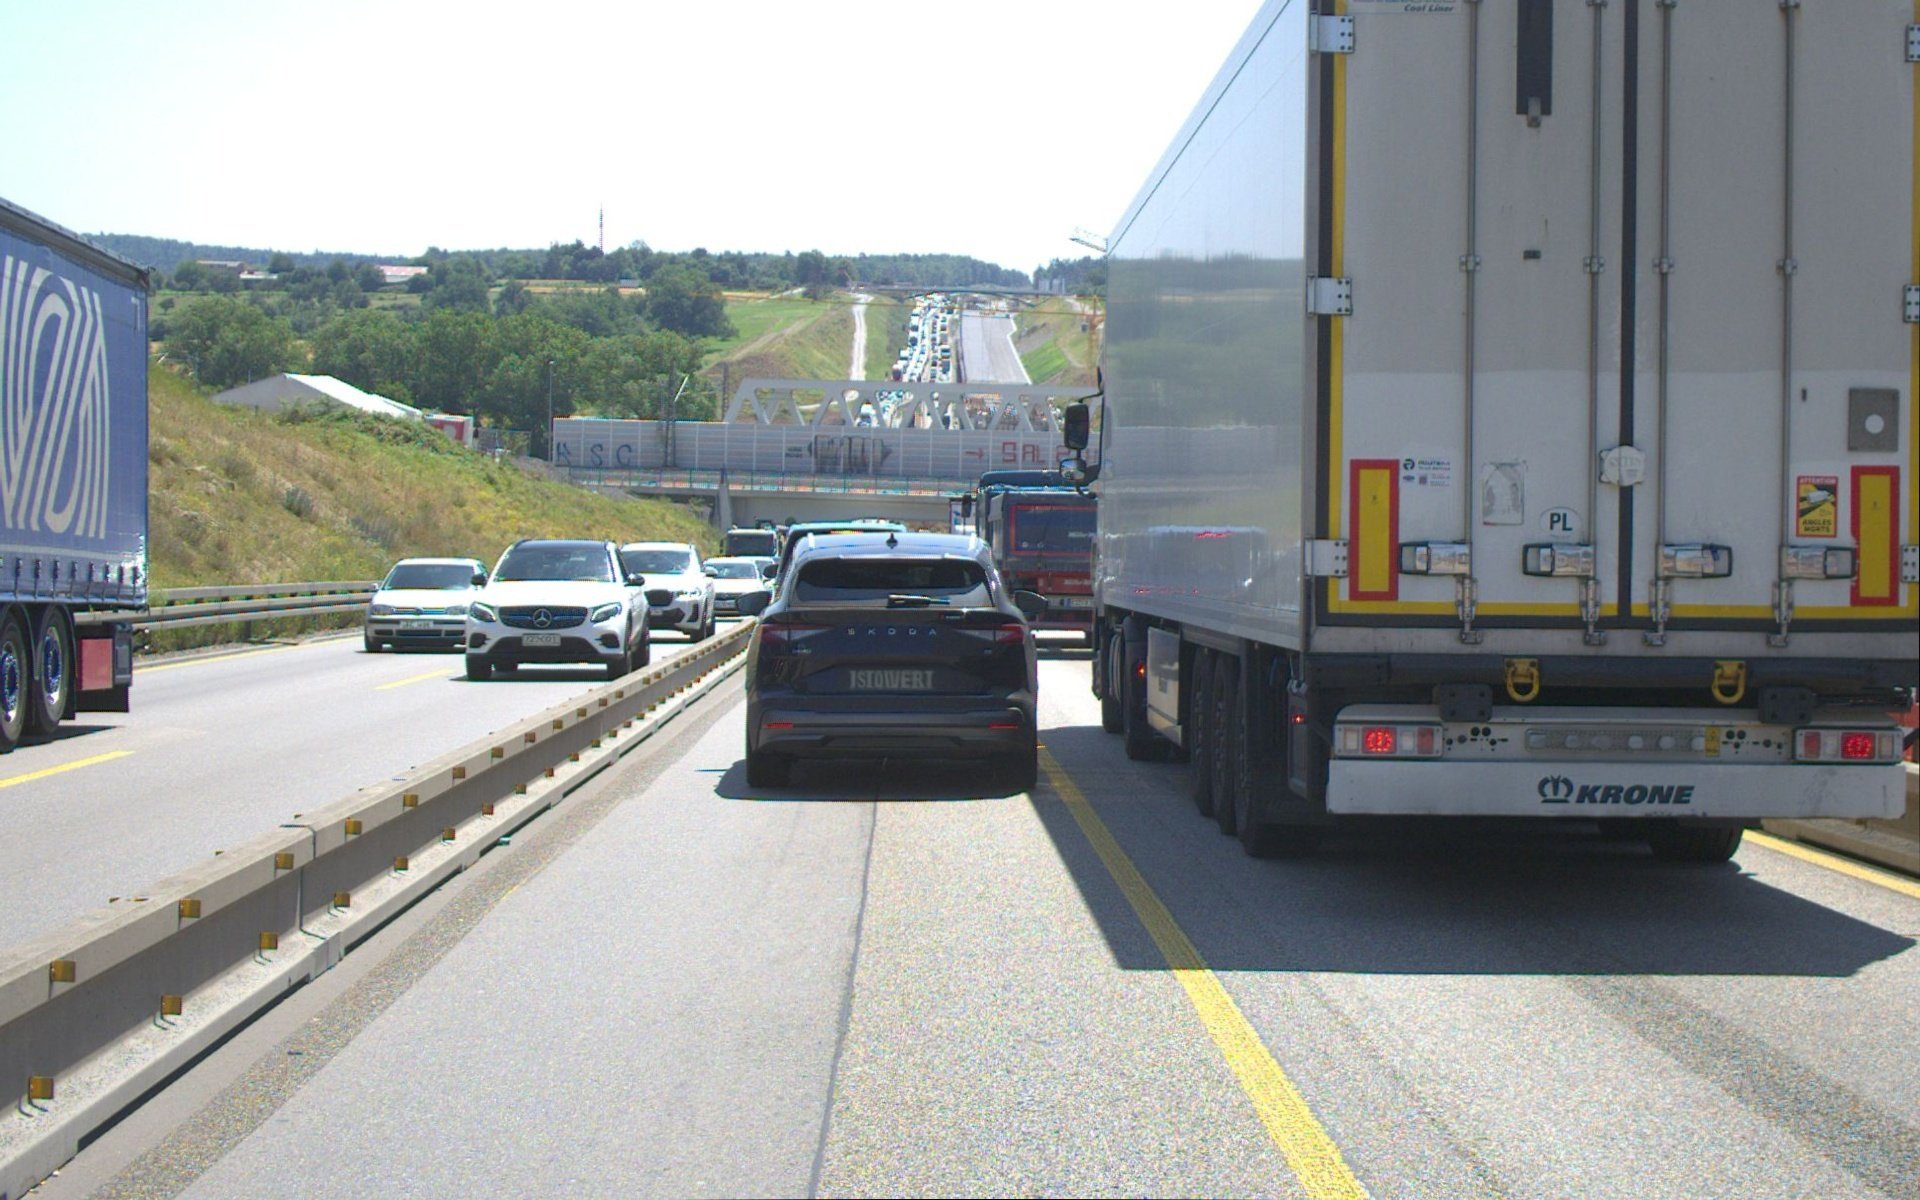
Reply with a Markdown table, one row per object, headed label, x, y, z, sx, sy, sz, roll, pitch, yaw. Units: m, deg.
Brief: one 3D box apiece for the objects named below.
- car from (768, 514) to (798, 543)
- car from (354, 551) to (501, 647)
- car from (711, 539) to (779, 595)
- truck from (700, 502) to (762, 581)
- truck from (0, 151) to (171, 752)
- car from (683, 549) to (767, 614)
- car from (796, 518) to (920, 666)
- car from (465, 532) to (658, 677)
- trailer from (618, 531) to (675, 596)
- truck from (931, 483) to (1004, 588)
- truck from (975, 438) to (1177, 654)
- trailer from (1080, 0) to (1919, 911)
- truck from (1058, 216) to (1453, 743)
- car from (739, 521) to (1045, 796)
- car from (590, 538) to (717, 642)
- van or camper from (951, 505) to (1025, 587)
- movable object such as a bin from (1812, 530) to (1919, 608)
| label | x | y | z | sx | sy | sz | roll | pitch | yaw |
| --- | --- | --- | --- | --- | --- | --- | --- | --- | --- |
| car | -11.122 | -4.484 | 216.237 | 1.732 | 1.787 | 3.581 | 1 | 1 | -1 |
| car | -7.984 | -0.041 | 51.829 | 1.701 | 1.374 | 3.967 | 1 | 1 | -2 |
| car | -6.275 | -0.982 | 100.488 | 1.815 | 1.587 | 4.290 | 1 | 1 | -2 |
| truck | -11.125 | -2.827 | 167.710 | 2.587 | 3.710 | 9.333 | 0 | 1 | -1 |
| truck | -8.219 | -1.014 | 22.335 | 3.243 | 4.145 | 13.979 | 0 | 1 | -1 |
| car | -5.529 | -0.461 | 81.284 | 1.806 | 1.472 | 4.280 | 1 | 1 | -2 |
| car | -1.253 | -0.130 | 43.268 | 1.475 | 1.789 | 3.298 | 0 | 1 | 0 |
| car | -4.729 | 0.019 | 41.312 | 1.812 | 1.632 | 4.362 | 0 | 1 | 0 |
| trailer | -9.909 | -1.158 | 108.823 | 1.646 | 2.019 | 4.271 | 0 | 1 | -3 |
| truck | 0.256 | -2.548 | 135.210 | 2.517 | 3.946 | 7.600 | 2 | 1 | -1 |
| truck | 1.719 | -0.853 | 56.535 | 2.814 | 3.124 | 12.838 | 0 | 1 | 0 |
| trailer | 2.532 | -0.862 | 20.613 | 2.801 | 4.044 | 14.118 | 0 | 0 | -1 |
| truck | 2.347 | -0.950 | 28.957 | 2.776 | 4.044 | 4.905 | 0 | 0 | -1 |
| car | -0.429 | 0.313 | 22.122 | 1.800 | 1.615 | 3.298 | 1 | 1 | -1 |
| car | -5.223 | -0.202 | 59.037 | 1.891 | 1.702 | 4.562 | 1 | 1 | -2 |
| van or camper | 0.792 | -1.574 | 99.170 | 1.993 | 2.237 | 4.000 | 2 | 1 | 0 |
| movable object such as a bin | 35.474 | -1.201 | 132.464 | 2.887 | 2.899 | 9.479 | 1 | 1 | 0 |
